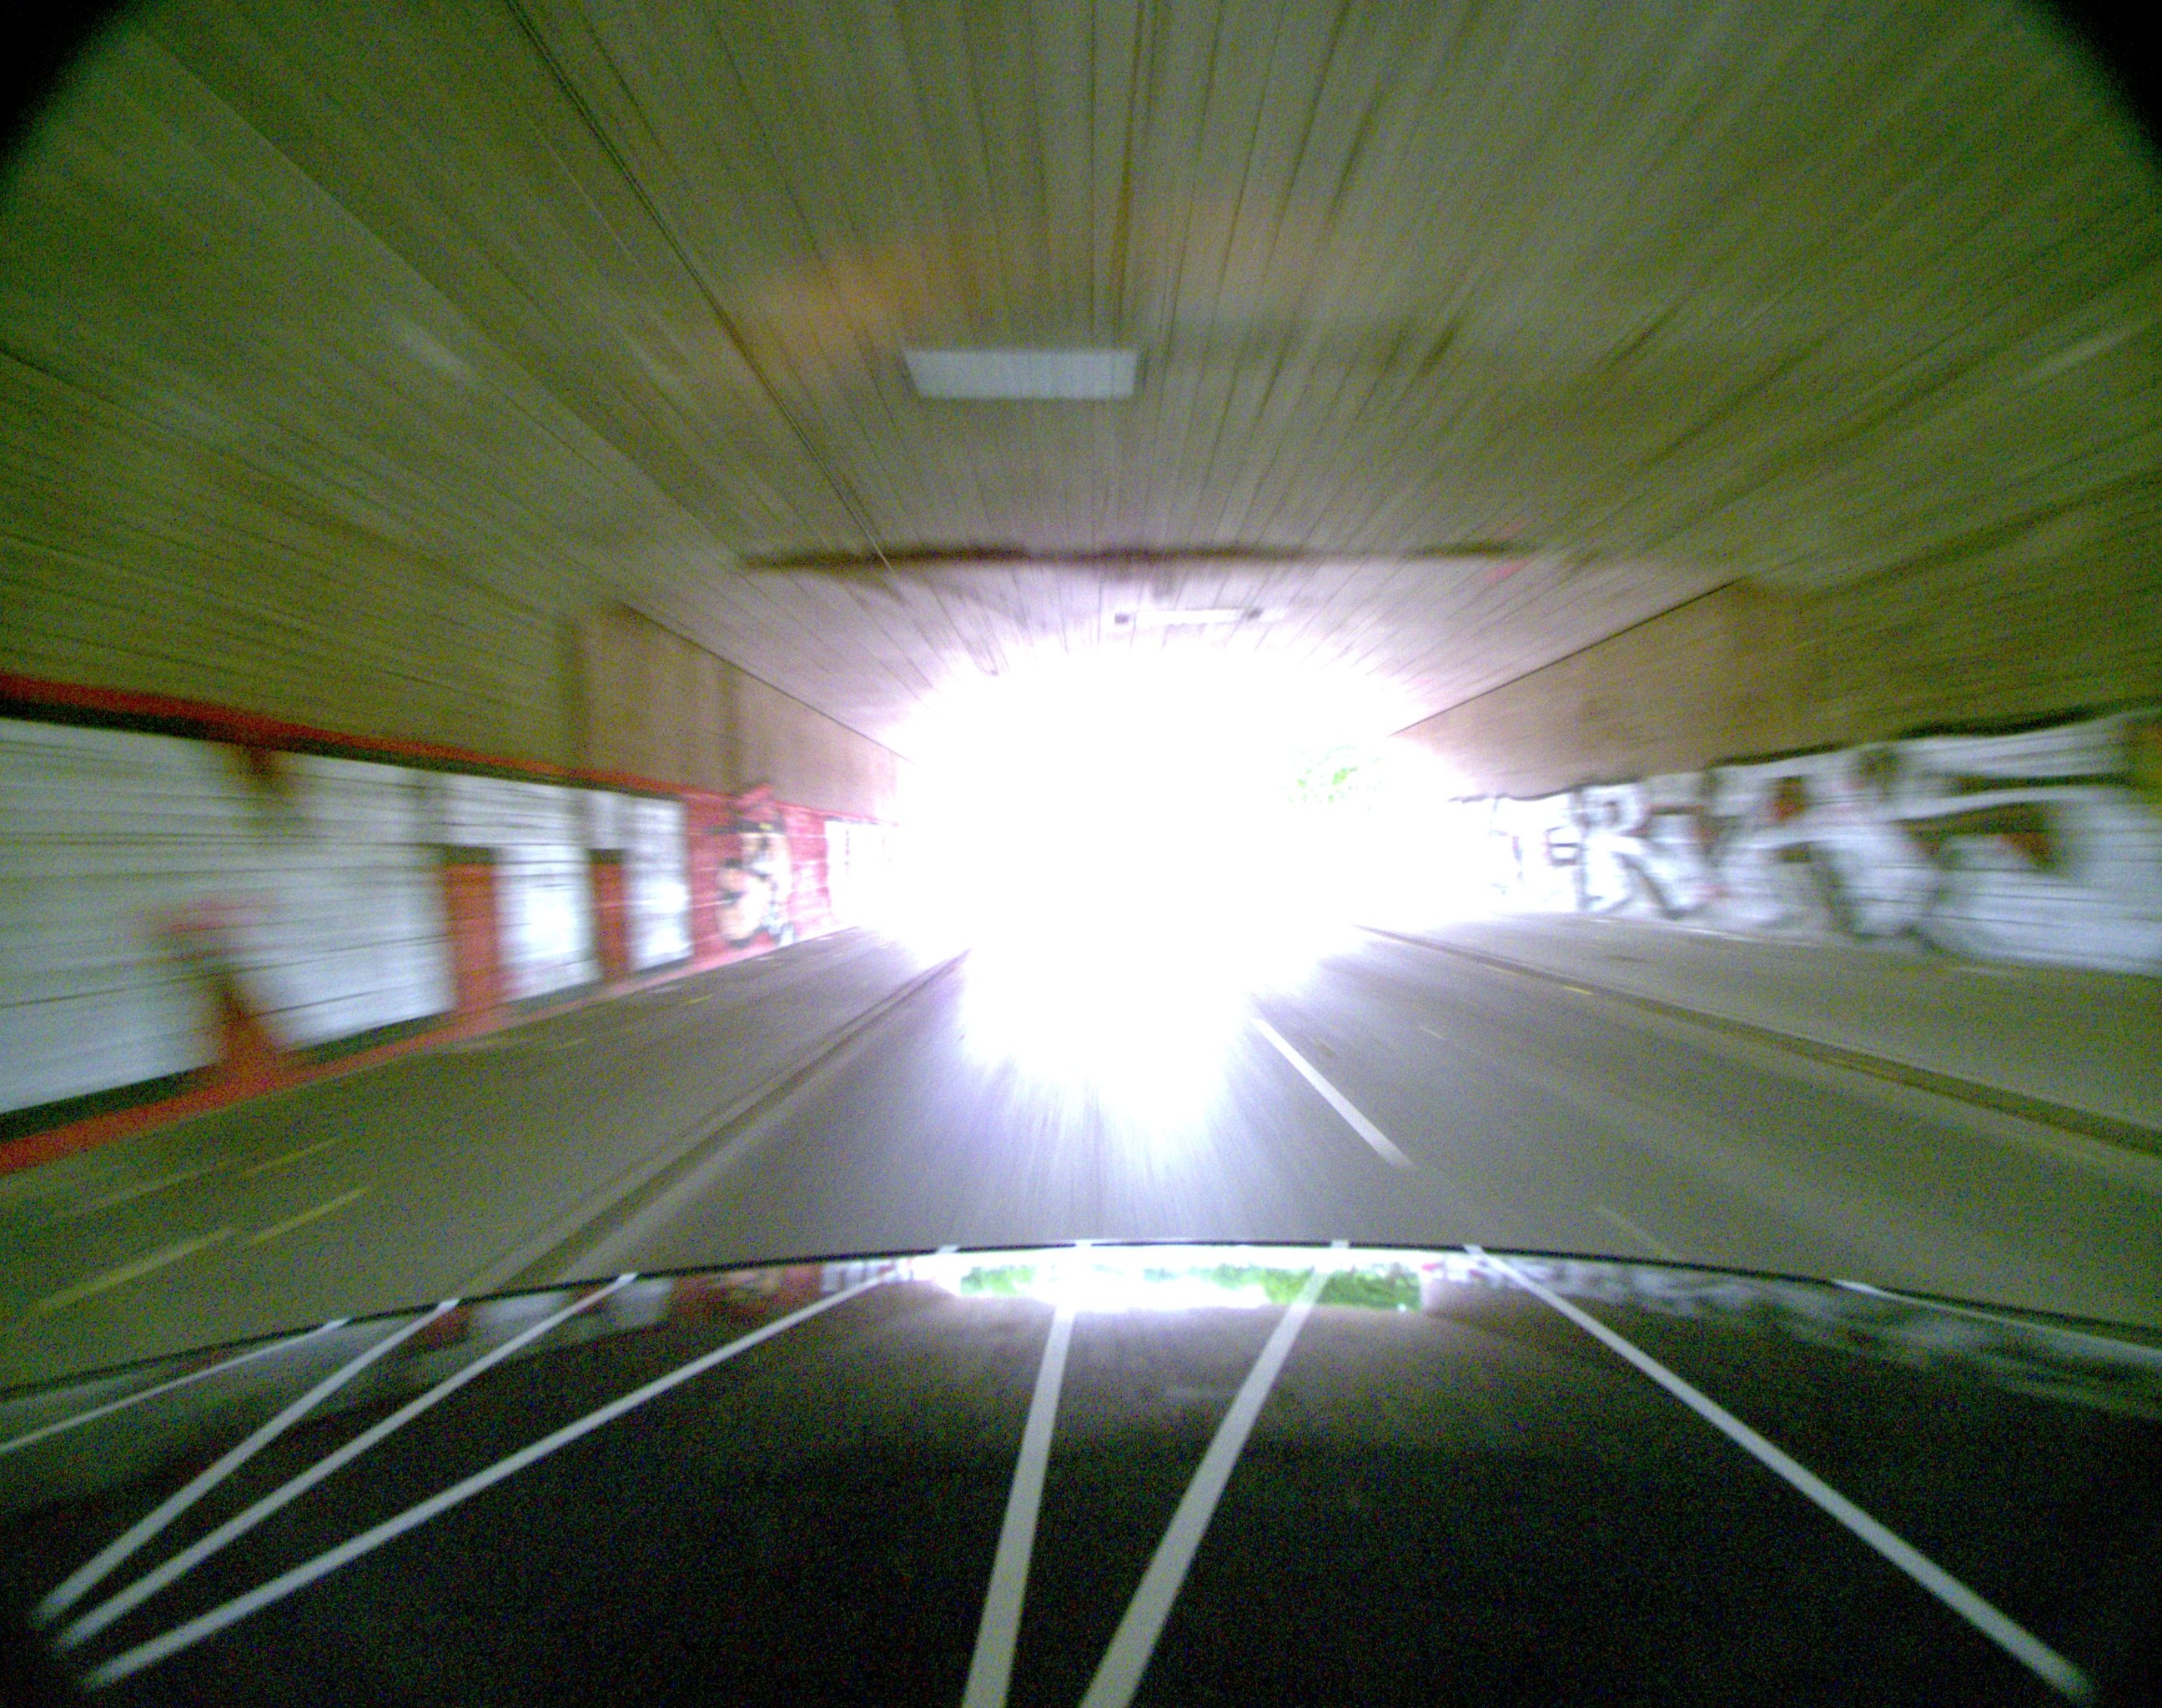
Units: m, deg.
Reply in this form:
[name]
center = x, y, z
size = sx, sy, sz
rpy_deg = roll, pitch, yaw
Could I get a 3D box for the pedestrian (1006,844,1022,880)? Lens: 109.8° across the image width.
[pedestrian]
center = -3.600, 0.416, 40.905
size = 0.822, 1.869, 1.180
rpy_deg = 0, 1, -8
